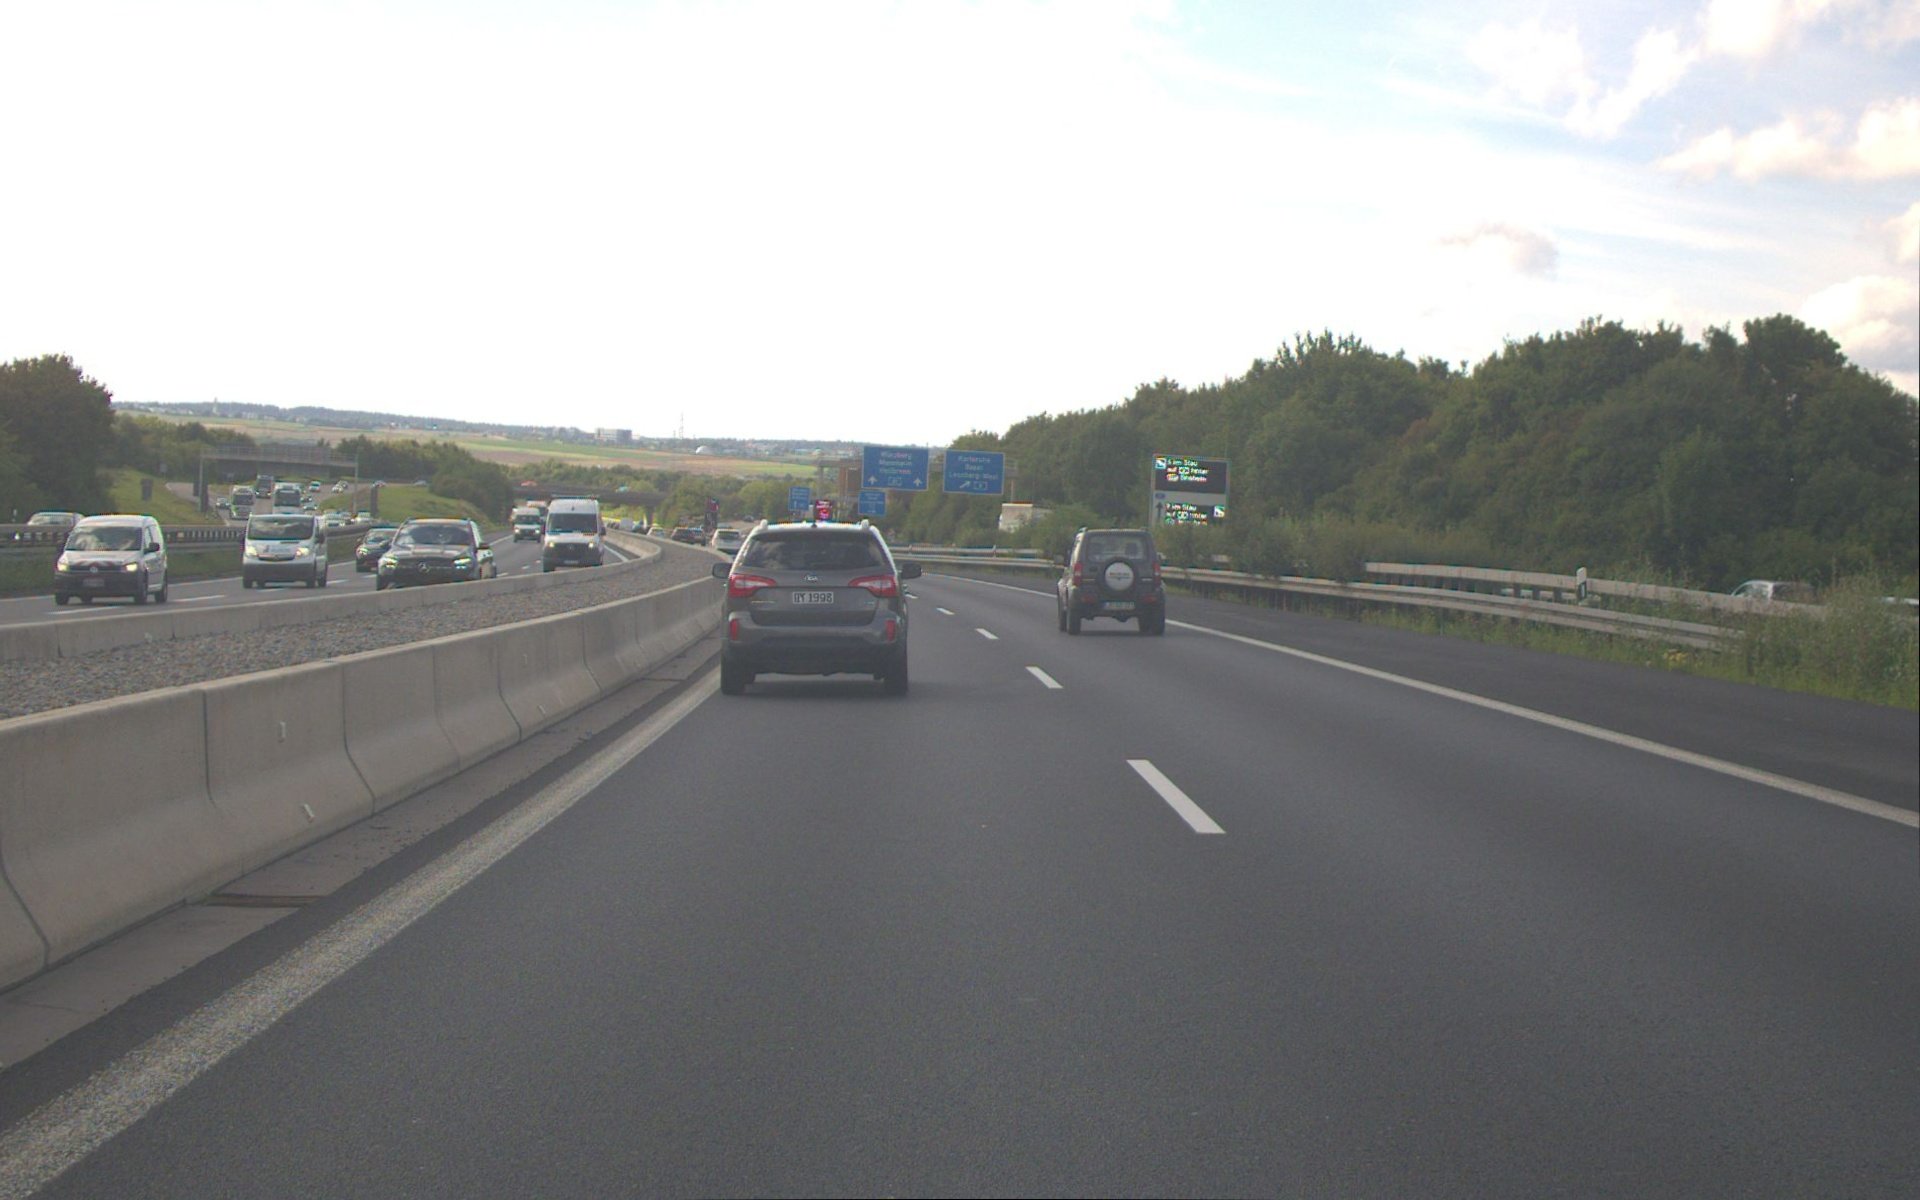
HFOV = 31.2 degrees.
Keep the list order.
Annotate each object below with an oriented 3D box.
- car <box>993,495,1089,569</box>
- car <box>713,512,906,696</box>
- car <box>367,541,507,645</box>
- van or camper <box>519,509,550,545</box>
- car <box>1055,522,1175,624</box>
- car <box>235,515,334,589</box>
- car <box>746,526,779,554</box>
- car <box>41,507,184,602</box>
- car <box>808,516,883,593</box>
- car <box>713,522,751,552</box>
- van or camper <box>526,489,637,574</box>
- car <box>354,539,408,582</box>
[{"bbox_3d":[5.027,-4.205,215.504,4.727,4.251,11.405,1,-1,-5],"label":"car"},{"bbox_3d":[-1.529,0.026,35.571,1.817,1.730,5.187,1,0,-2],"label":"car"},{"bbox_3d":[-10.324,-0.180,68.243,1.993,1.913,5.149,2,1,-1],"label":"car"},{"bbox_3d":[-31.844,-5.467,257.175,1.986,2.615,6.865,1,1,-5],"label":"van or camper"},{"bbox_3d":[2.531,-0.475,56.855,1.587,1.591,4.096,1,1,-2],"label":"car"},{"bbox_3d":[-17.881,-1.282,91.222,1.914,1.899,5.288,0,1,-4],"label":"car"},{"bbox_3d":[-14.561,-4.376,253.003,1.993,1.922,4.001,1,-1,-9],"label":"car"},{"bbox_3d":[-17.131,-0.932,69.679,1.993,1.808,4.241,1,1,-3],"label":"car"},{"bbox_3d":[-3.260,-1.313,98.481,2.030,2.144,4.000,1,1,-1],"label":"car"},{"bbox_3d":[-13.806,-3.820,207.916,1.993,1.678,4.001,1,-1,-8],"label":"car"},{"bbox_3d":[-13.509,-2.459,123.377,3.335,2.906,7.467,1,1,-2],"label":"van or camper"},{"bbox_3d":[-20.291,-1.415,120.584,1.784,1.412,4.998,1,1,-9],"label":"car"}]
